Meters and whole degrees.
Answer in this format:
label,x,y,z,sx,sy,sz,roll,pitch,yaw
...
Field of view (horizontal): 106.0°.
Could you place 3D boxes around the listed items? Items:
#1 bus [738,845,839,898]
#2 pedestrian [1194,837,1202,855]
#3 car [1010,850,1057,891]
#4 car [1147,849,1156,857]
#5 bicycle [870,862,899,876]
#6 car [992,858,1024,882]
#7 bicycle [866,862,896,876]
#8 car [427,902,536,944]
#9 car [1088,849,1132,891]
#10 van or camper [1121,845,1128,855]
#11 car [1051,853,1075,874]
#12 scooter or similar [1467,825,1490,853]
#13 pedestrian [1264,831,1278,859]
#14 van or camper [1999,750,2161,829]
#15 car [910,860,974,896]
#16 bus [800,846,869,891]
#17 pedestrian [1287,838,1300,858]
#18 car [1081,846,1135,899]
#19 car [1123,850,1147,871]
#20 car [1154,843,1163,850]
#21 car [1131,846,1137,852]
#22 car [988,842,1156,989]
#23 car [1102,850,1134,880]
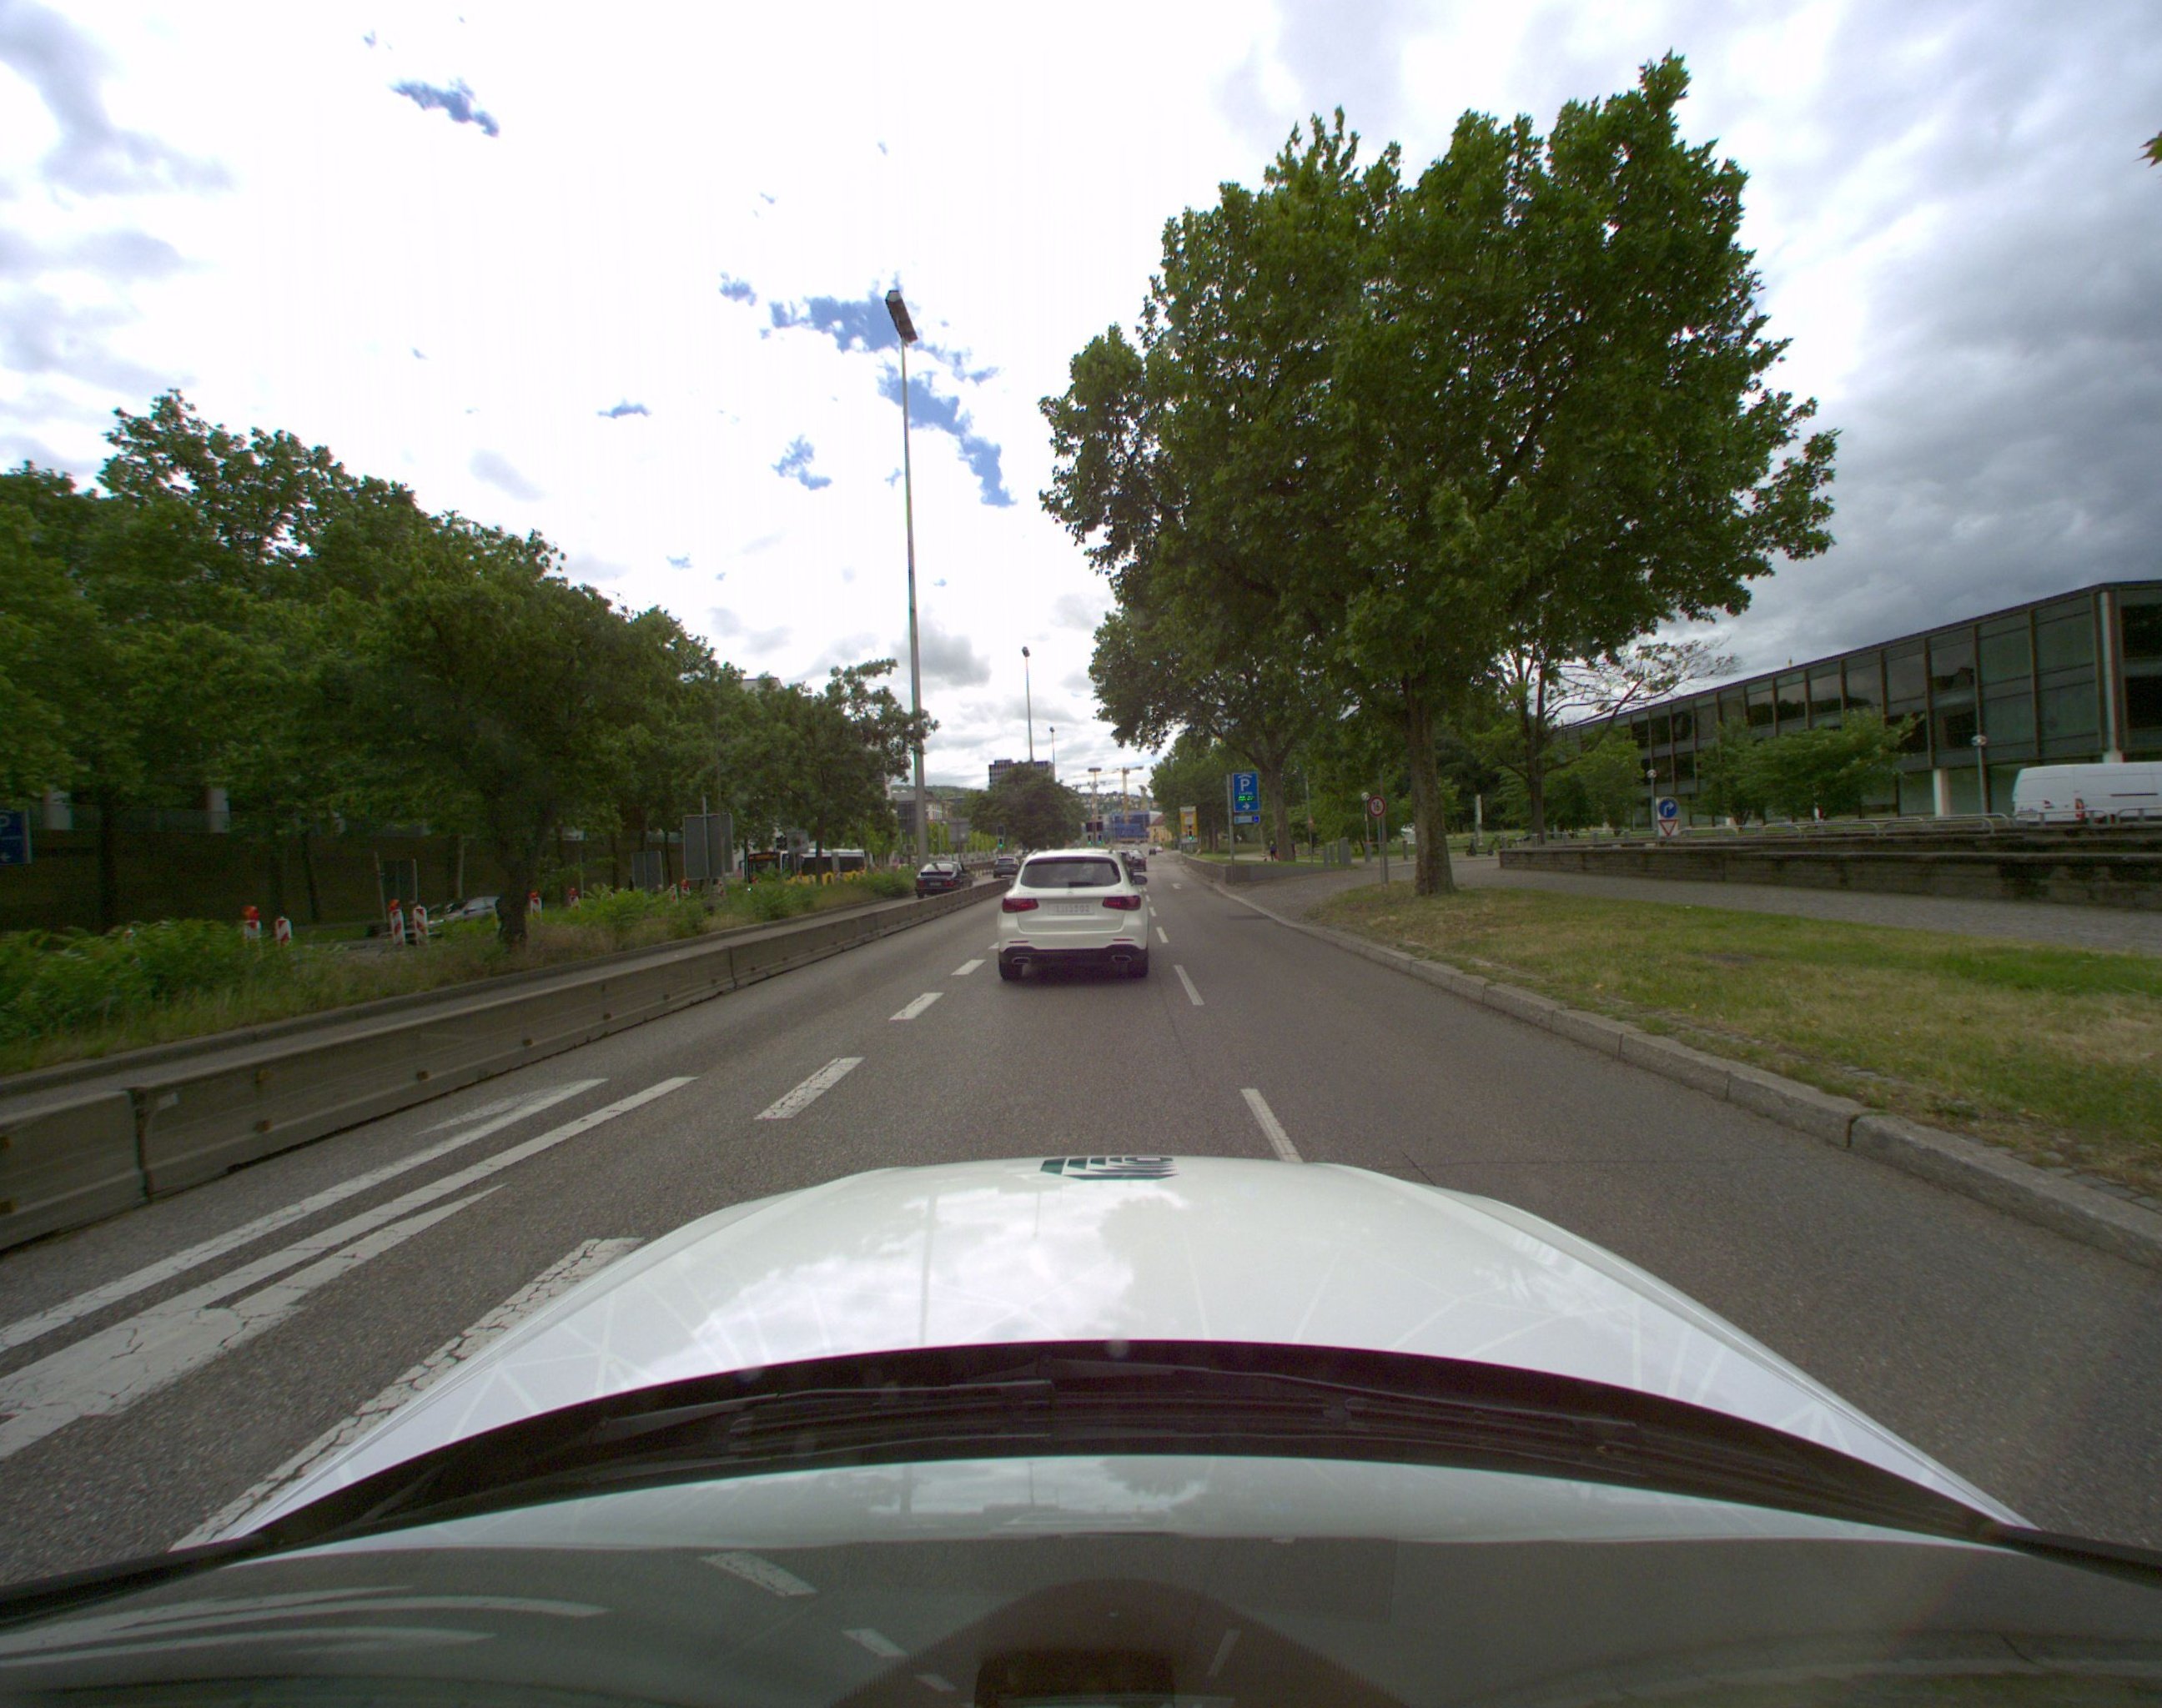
label,x,y,z,sx,sy,sz,roll,pitch,yaw
bus,-20.354,1.133,57.594,2.901,3.305,10.455,-3,0,2
pedestrian,11.136,-0.771,77.271,0.695,1.656,0.684,0,-1,2
car,-2.014,0.676,35.647,1.713,1.678,4.001,0,0,1
car,15.427,-0.239,177.872,1.713,1.584,4.001,0,0,1
bicycle,-27.293,2.126,112.956,3.600,1.684,1.183,-3,0,1
car,-5.104,1.113,57.110,1.746,1.553,4.002,0,0,2
bicycle,-27.103,2.075,110.516,3.600,1.684,1.183,-3,0,1
car,-21.693,2.465,29.629,1.347,1.288,3.399,0,-1,2
car,1.253,0.654,33.707,1.665,1.628,4.004,0,-1,4
van or camper,11.128,-1.081,208.468,1.915,2.320,4.002,-2,-2,2
car,-1.350,0.700,62.379,1.714,1.584,3.999,0,0,-1
scooter or similar,18.128,-0.660,37.143,0.713,1.247,0.729,0,-1,1
pedestrian,14.293,-0.671,61.215,0.853,2.014,0.815,0,-2,1
van or camper,34.648,-2.122,26.960,5.674,2.320,2.322,-2,-2,2
car,-5.358,0.896,31.850,1.713,1.292,4.001,0,0,1
bus,-20.037,1.118,66.681,2.912,3.303,7.710,-3,0,2
pedestrian,16.222,-0.462,62.212,0.783,1.527,0.684,0,-1,3
car,0.883,0.598,26.957,1.648,1.610,4.001,0,-1,2
car,4.169,0.471,63.546,1.713,1.584,4.001,0,0,1
car,19.995,-1.915,210.631,1.988,1.618,3.997,0,-1,-2
car,15.834,-1.503,244.393,1.713,1.584,4.001,0,0,1
car,-0.057,0.729,11.381,1.933,1.684,4.001,0,-1,1
car,2.085,0.584,46.260,1.713,1.584,4.001,0,0,1
